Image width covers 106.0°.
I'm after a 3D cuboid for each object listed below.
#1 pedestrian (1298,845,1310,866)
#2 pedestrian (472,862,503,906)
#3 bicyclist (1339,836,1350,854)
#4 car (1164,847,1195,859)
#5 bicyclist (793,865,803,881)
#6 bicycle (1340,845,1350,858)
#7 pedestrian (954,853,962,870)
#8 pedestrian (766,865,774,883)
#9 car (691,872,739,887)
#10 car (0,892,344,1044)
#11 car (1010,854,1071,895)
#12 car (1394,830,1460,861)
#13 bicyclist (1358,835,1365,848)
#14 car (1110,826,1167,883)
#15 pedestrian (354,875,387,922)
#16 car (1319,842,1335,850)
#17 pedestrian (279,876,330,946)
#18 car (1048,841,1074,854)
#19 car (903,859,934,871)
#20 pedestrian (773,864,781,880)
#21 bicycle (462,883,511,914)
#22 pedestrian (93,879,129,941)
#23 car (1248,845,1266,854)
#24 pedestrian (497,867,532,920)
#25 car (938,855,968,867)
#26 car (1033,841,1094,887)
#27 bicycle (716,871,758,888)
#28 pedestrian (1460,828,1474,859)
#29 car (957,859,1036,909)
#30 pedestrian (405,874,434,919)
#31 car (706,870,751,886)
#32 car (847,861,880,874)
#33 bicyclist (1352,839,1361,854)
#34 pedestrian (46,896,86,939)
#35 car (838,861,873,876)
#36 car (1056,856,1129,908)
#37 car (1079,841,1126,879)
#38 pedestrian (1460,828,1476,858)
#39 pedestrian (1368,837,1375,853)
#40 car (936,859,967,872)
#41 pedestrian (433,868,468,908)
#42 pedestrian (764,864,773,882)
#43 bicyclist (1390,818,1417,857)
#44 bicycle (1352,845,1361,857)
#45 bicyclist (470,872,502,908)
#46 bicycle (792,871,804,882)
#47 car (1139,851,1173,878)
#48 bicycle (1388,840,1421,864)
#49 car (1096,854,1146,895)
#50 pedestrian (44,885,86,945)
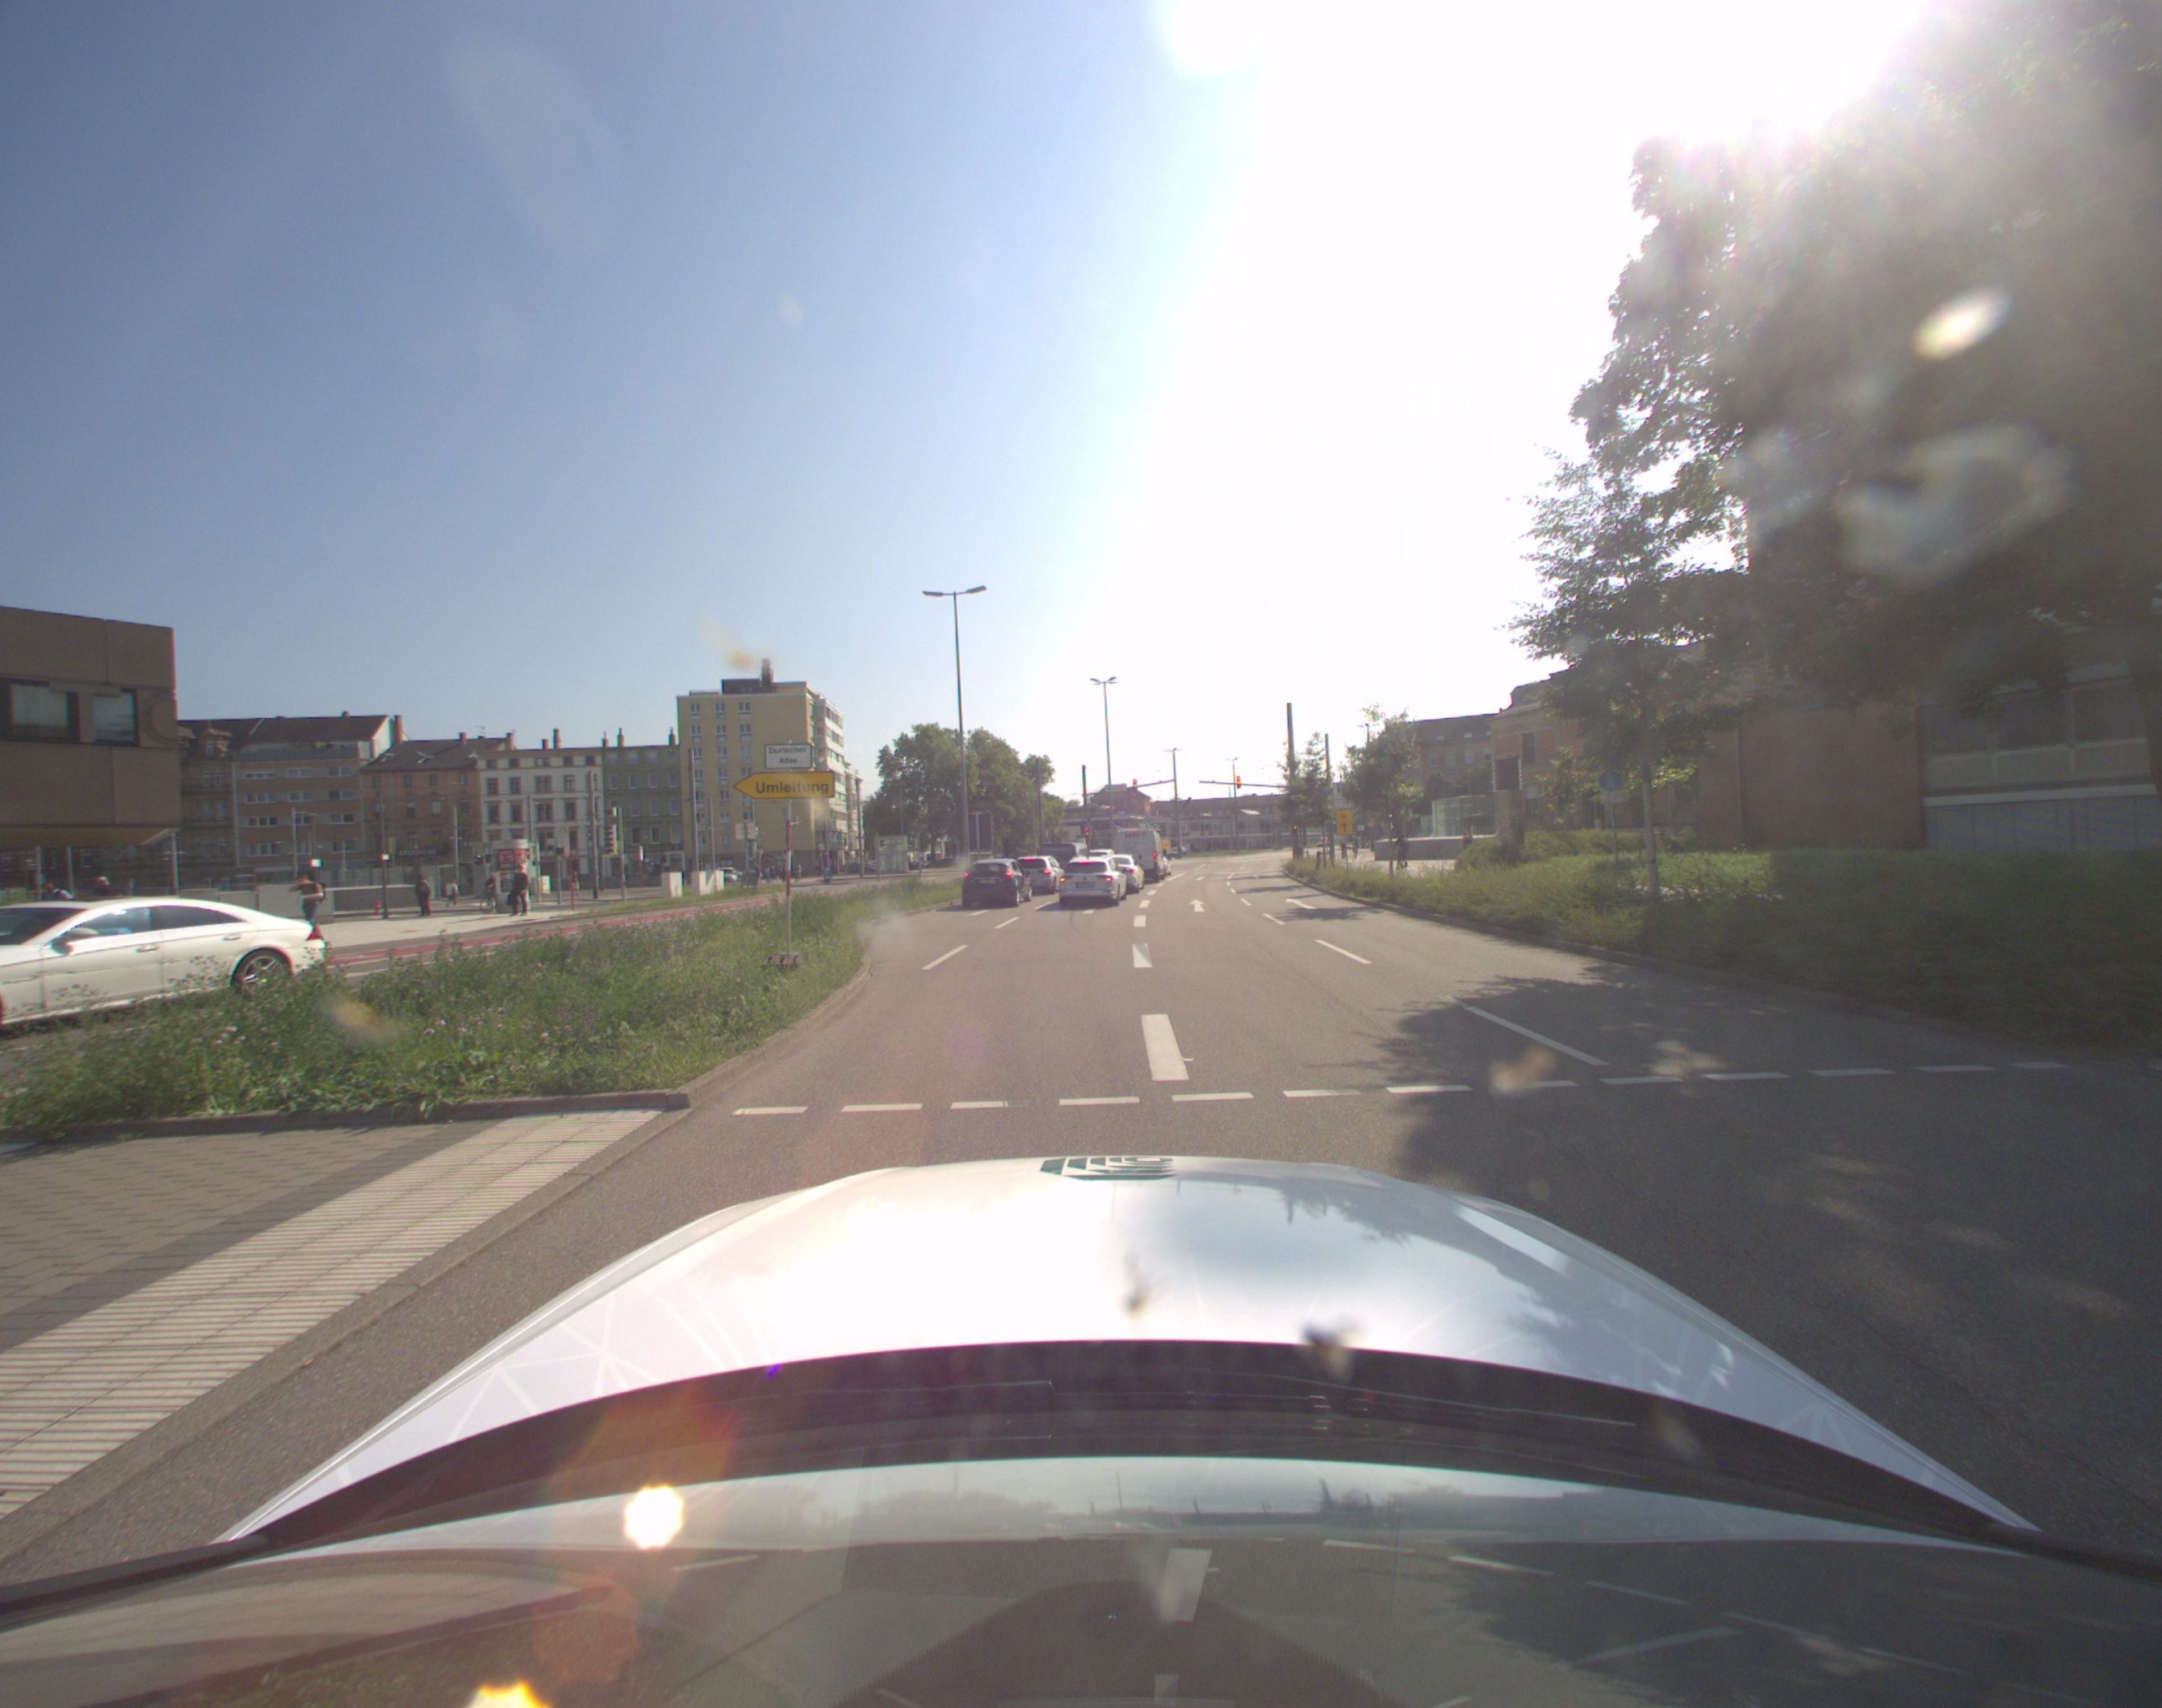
[{"bbox_3d":[14.939,0.098,54.500,0.633,1.362,0.635,-3,0,4],"label":"pedestrian"},{"bbox_3d":[-25.697,1.277,35.272,0.884,1.818,0.887,-4,3,-30],"label":"pedestrian"},{"bbox_3d":[22.707,-0.745,70.162,0.706,1.529,0.811,-3,0,21],"label":"bicyclist"},{"bbox_3d":[13.049,-0.123,107.747,3.950,1.342,1.931,-3,0,2],"label":"car"},{"bbox_3d":[-26.553,1.756,76.349,0.725,1.434,0.688,-3,0,-9],"label":"bicyclist"},{"bbox_3d":[22.743,-0.243,70.163,0.700,1.061,1.993,-3,0,21],"label":"bicycle"},{"bbox_3d":[-15.129,0.899,100.027,0.820,2.013,0.509,-3,0,-3],"label":"pedestrian"},{"bbox_3d":[-29.218,1.849,76.517,0.458,1.684,0.435,-4,3,-44],"label":"pedestrian"},{"bbox_3d":[-35.308,2.468,78.573,3.819,1.180,1.574,-3,-2,-2],"label":"car"},{"bbox_3d":[-11.519,1.223,9.240,1.835,1.361,4.820,-1,-1,1],"label":"car"},{"bbox_3d":[-1.497,0.749,31.555,1.480,1.415,3.659,-2,1,10],"label":"car"},{"bbox_3d":[24.663,-0.614,58.093,3.989,2.013,1.747,-3,2,-12],"label":"car"},{"bbox_3d":[40.112,-1.821,116.522,0.740,1.829,0.811,-3,0,21],"label":"bicyclist"},{"bbox_3d":[2.862,0.022,39.580,2.175,2.549,4.697,-2,-1,10],"label":"car"},{"bbox_3d":[-29.455,1.830,33.771,0.870,1.818,0.783,-1,3,38],"label":"pedestrian"},{"bbox_3d":[50.006,-1.626,165.565,1.974,1.442,4.026,-3,0,36],"label":"car"},{"bbox_3d":[-20.376,1.466,21.384,0.680,1.759,0.871,-3,0,-26],"label":"pedestrian"},{"bbox_3d":[-3.318,-1.123,136.947,3.967,2.013,2.004,-2,2,5],"label":"car"},{"bbox_3d":[-22.541,1.534,113.315,3.982,1.557,1.724,-3,0,-6],"label":"car"},{"bbox_3d":[-28.778,1.729,76.983,0.502,1.487,0.435,-5,3,-44],"label":"pedestrian"},{"bbox_3d":[-23.621,1.754,32.389,0.560,1.064,1.851,-1,2,-1],"label":"bicycle"},{"bbox_3d":[-29.241,1.693,24.556,0.388,1.819,0.560,-3,0,21],"label":"pedestrian"},{"bbox_3d":[31.883,-0.853,147.614,1.974,1.442,4.026,-3,0,31],"label":"car"},{"bbox_3d":[-20.164,1.404,28.994,0.853,1.778,0.866,-4,3,-41],"label":"pedestrian"},{"bbox_3d":[-18.192,0.987,115.696,3.976,1.618,1.812,-3,0,-2],"label":"car"},{"bbox_3d":[-0.750,0.449,38.828,2.011,2.008,4.696,-2,0,9],"label":"car"},{"bbox_3d":[-37.830,2.814,89.635,3.984,1.551,1.193,-3,2,-8],"label":"bicycle"},{"bbox_3d":[20.735,-0.556,43.737,0.608,1.639,0.537,-3,0,28],"label":"pedestrian"},{"bbox_3d":[-2.547,0.874,25.519,1.693,1.368,3.969,-2,0,5],"label":"car"},{"bbox_3d":[-24.187,1.543,29.780,0.494,1.579,0.509,-2,2,9],"label":"pedestrian"},{"bbox_3d":[-35.360,2.393,81.691,3.731,1.393,1.584,-3,0,-5],"label":"car"},{"bbox_3d":[-29.693,1.875,111.252,3.982,1.557,1.865,-3,0,-6],"label":"car"},{"bbox_3d":[26.240,-0.682,77.607,0.700,1.394,0.834,-3,0,21],"label":"bicyclist"},{"bbox_3d":[-40.138,2.509,32.215,0.683,1.591,0.803,-3,0,25],"label":"pedestrian"},{"bbox_3d":[-28.771,1.854,104.025,3.980,1.557,1.866,-3,2,-5],"label":"car"},{"bbox_3d":[0.418,0.786,24.530,1.675,1.387,3.643,-2,-1,8],"label":"car"},{"bbox_3d":[1.292,0.320,46.437,2.011,2.008,4.696,-2,0,9],"label":"car"},{"bbox_3d":[21.063,-0.590,44.331,0.609,1.628,0.536,-3,0,18],"label":"pedestrian"},{"bbox_3d":[37.527,-1.150,105.197,0.740,2.013,0.811,-3,0,21],"label":"pedestrian"},{"bbox_3d":[-18.050,1.596,113.534,3.976,1.618,1.812,-3,0,-2],"label":"car"},{"bbox_3d":[-33.856,1.828,43.760,0.956,2.013,1.020,-3,2,-5],"label":"pedestrian"},{"bbox_3d":[-29.034,1.771,75.689,0.452,1.684,0.548,-2,2,7],"label":"pedestrian"},{"bbox_3d":[13.546,-0.671,34.262,0.767,1.578,0.993,-2,0,8],"label":"bicyclist"},{"bbox_3d":[26.257,-0.302,77.580,0.700,1.061,1.993,-3,0,21],"label":"bicycle"},{"bbox_3d":[-23.624,1.417,32.352,0.561,1.361,0.883,-1,2,-2],"label":"bicyclist"},{"bbox_3d":[-26.526,2.109,76.284,0.727,0.984,1.726,-3,0,-9],"label":"bicycle"},{"bbox_3d":[4.397,0.593,47.181,1.627,1.403,3.697,-2,0,10],"label":"car"},{"bbox_3d":[13.574,-0.091,34.239,0.767,0.976,2.155,-3,0,8],"label":"bicycle"},{"bbox_3d":[1.577,0.742,31.027,1.480,1.403,3.951,-2,-1,8],"label":"car"},{"bbox_3d":[-30.421,1.813,24.391,0.526,1.695,0.611,-1,3,29],"label":"pedestrian"}]
